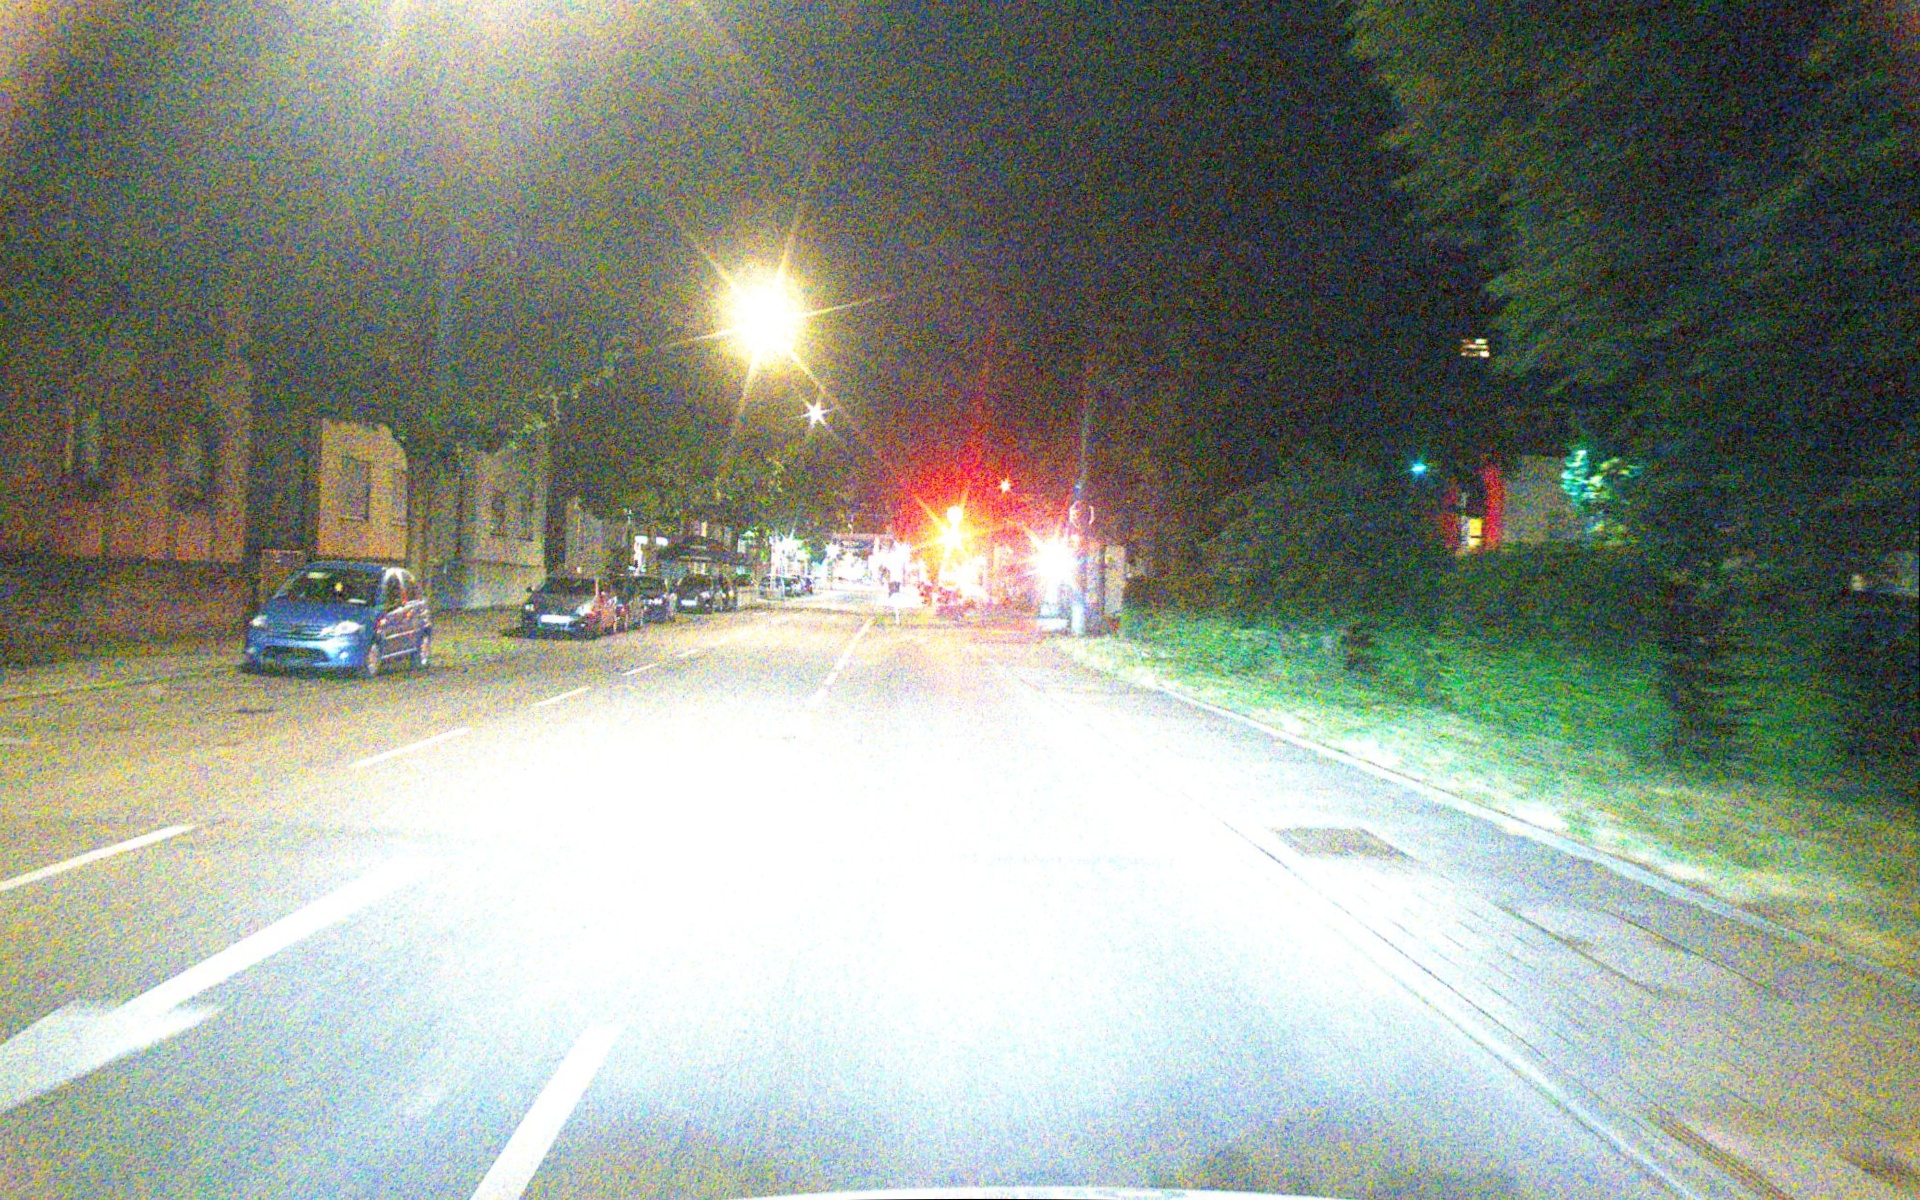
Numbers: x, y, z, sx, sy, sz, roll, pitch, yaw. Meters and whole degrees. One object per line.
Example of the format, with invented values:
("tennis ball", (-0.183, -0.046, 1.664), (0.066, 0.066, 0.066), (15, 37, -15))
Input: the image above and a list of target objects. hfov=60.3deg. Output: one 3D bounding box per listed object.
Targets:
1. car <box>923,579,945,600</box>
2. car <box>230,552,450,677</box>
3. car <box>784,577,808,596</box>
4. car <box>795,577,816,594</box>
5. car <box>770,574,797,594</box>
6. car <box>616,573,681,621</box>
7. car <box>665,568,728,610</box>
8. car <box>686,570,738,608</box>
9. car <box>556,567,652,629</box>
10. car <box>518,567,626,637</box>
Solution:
("car", (-1.943, -0.799, 124.683), (1.618, 1.456, 3.999), (2, 0, -1))
("car", (-8.579, 0.168, 23.243), (1.680, 1.520, 3.988), (3, 0, -3))
("car", (-13.333, -1.113, 134.492), (1.618, 1.456, 3.998), (2, 0, -2))
("car", (-13.807, -1.291, 148.215), (1.618, 1.456, 3.998), (2, 0, -2))
("car", (-12.955, -1.180, 121.603), (1.618, 1.456, 3.998), (2, 0, -2))
("car", (-9.907, -0.112, 52.857), (1.591, 1.407, 4.447), (2, 0, -5))
("car", (-10.468, -0.457, 66.000), (1.861, 1.497, 4.450), (4, 1, -2))
("car", (-10.600, -0.459, 70.992), (1.768, 1.507, 4.320), (2, 0, -3))
("car", (-9.520, -0.067, 44.529), (1.733, 1.511, 4.861), (2, 0, -3))
("car", (-9.191, 0.031, 39.511), (1.733, 1.511, 4.764), (2, 0, -4))
